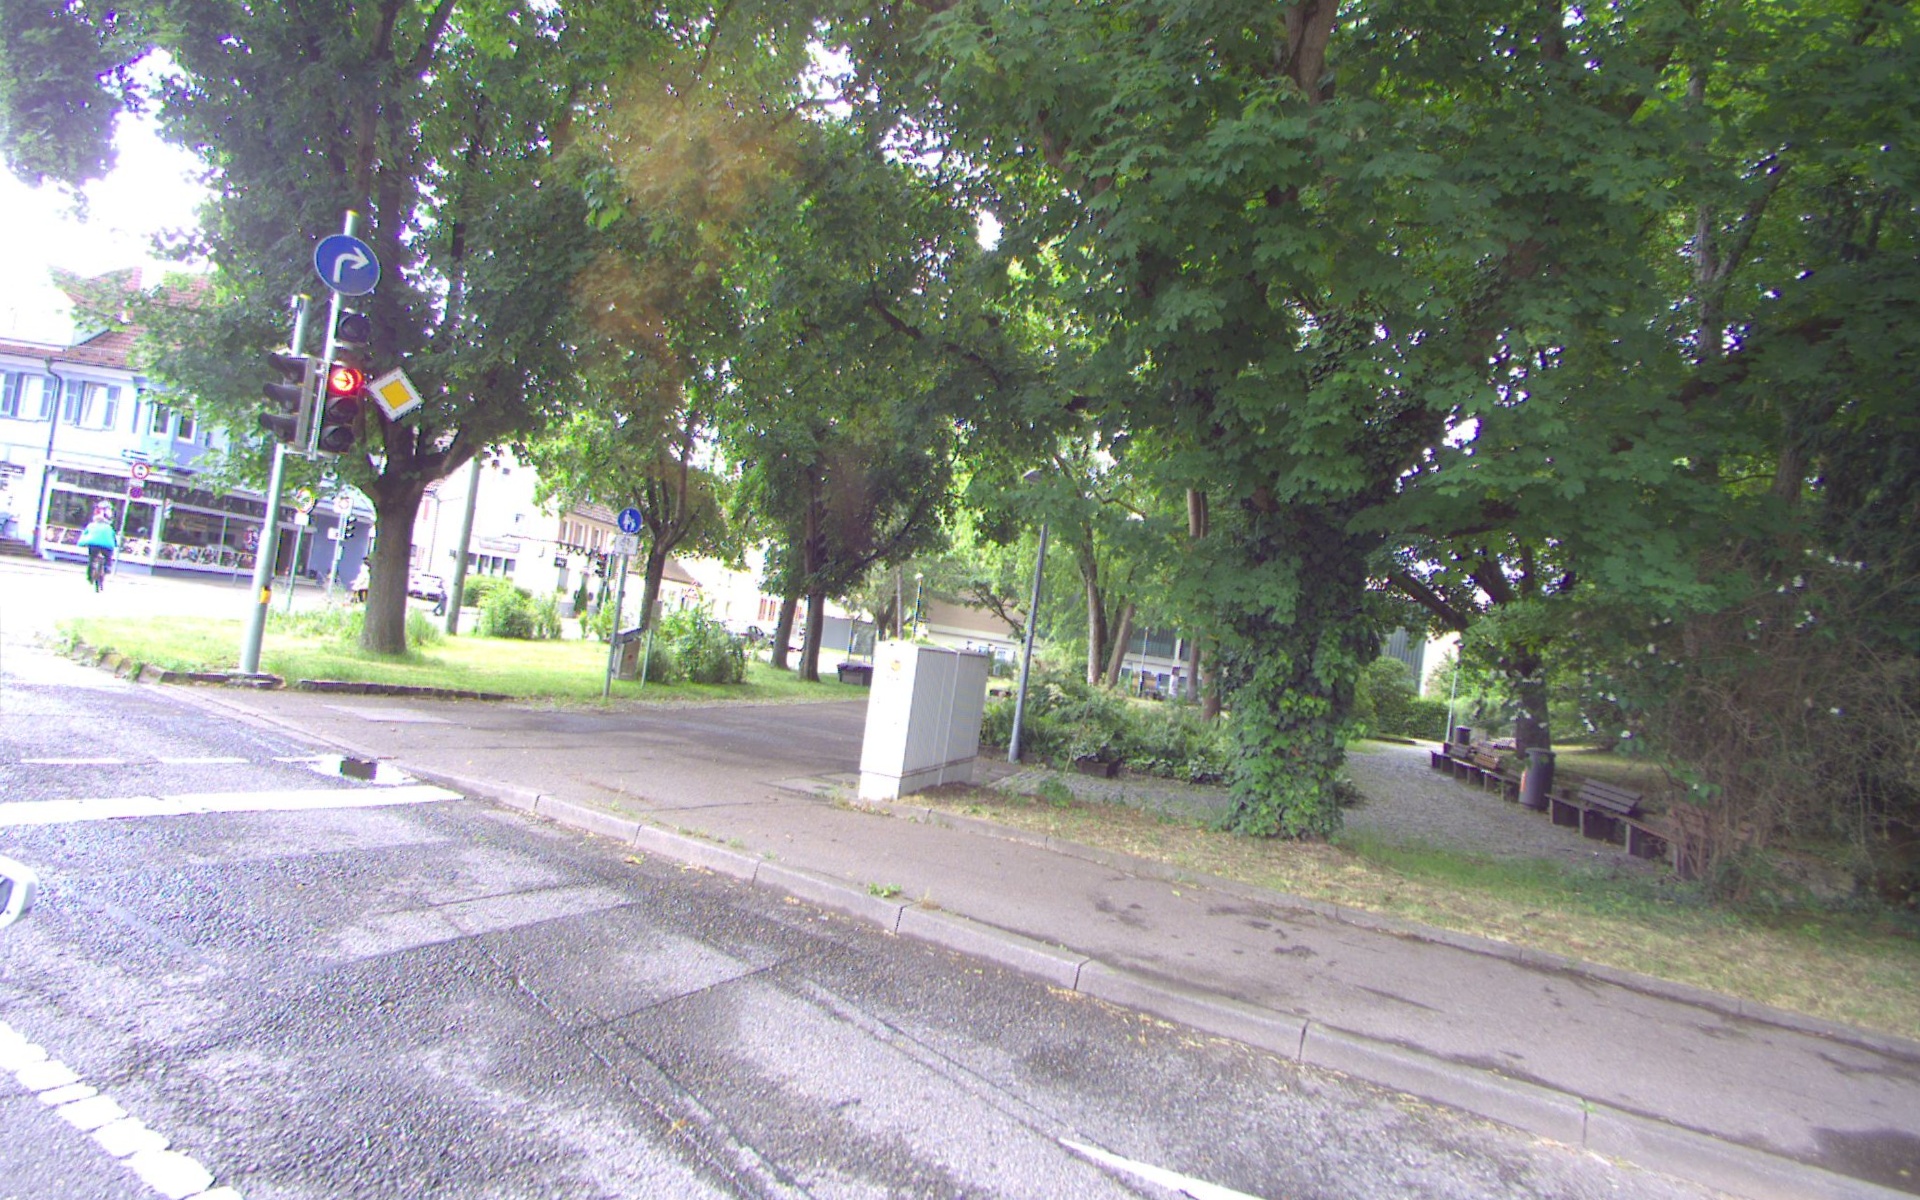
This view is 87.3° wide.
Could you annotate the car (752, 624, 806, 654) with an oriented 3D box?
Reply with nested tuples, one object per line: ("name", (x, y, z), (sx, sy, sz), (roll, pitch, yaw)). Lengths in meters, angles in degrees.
("car", (-10.734, 2.322, 59.911), (1.618, 1.474, 3.740), (7, -2, 13))

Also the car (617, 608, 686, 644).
("car", (-13.458, 1.158, 44.009), (1.436, 1.282, 3.014), (7, -2, 13))

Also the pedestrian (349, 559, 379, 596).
("pedestrian", (-26.919, -1.011, 45.430), (0.732, 1.578, 0.673), (7, -1, 17))

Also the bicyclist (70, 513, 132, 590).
("bicyclist", (-20.434, -1.154, 23.948), (0.911, 1.670, 0.978), (8, -2, -39))

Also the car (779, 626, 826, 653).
("car", (-10.310, 2.637, 66.043), (1.618, 1.474, 3.740), (7, -2, 13))

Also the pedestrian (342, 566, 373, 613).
("pedestrian", (-21.706, -0.388, 36.243), (0.725, 1.578, 0.763), (7, -1, -27))

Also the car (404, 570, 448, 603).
("car", (-28.205, -0.718, 53.159), (1.870, 1.406, 3.589), (9, -2, -28))

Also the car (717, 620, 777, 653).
("car", (-11.595, 1.999, 54.937), (1.618, 1.474, 3.740), (7, -2, 13))

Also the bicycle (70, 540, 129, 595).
("bicycle", (-20.588, -0.795, 24.108), (0.870, 1.162, 1.932), (9, -2, -38))

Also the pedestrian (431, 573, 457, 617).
("pedestrian", (-19.623, -0.177, 38.256), (0.688, 1.578, 0.662), (7, -1, -27))

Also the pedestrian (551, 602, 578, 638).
("pedestrian", (-13.033, 0.672, 33.141), (0.506, 1.093, 0.507), (7, -1, 17))
